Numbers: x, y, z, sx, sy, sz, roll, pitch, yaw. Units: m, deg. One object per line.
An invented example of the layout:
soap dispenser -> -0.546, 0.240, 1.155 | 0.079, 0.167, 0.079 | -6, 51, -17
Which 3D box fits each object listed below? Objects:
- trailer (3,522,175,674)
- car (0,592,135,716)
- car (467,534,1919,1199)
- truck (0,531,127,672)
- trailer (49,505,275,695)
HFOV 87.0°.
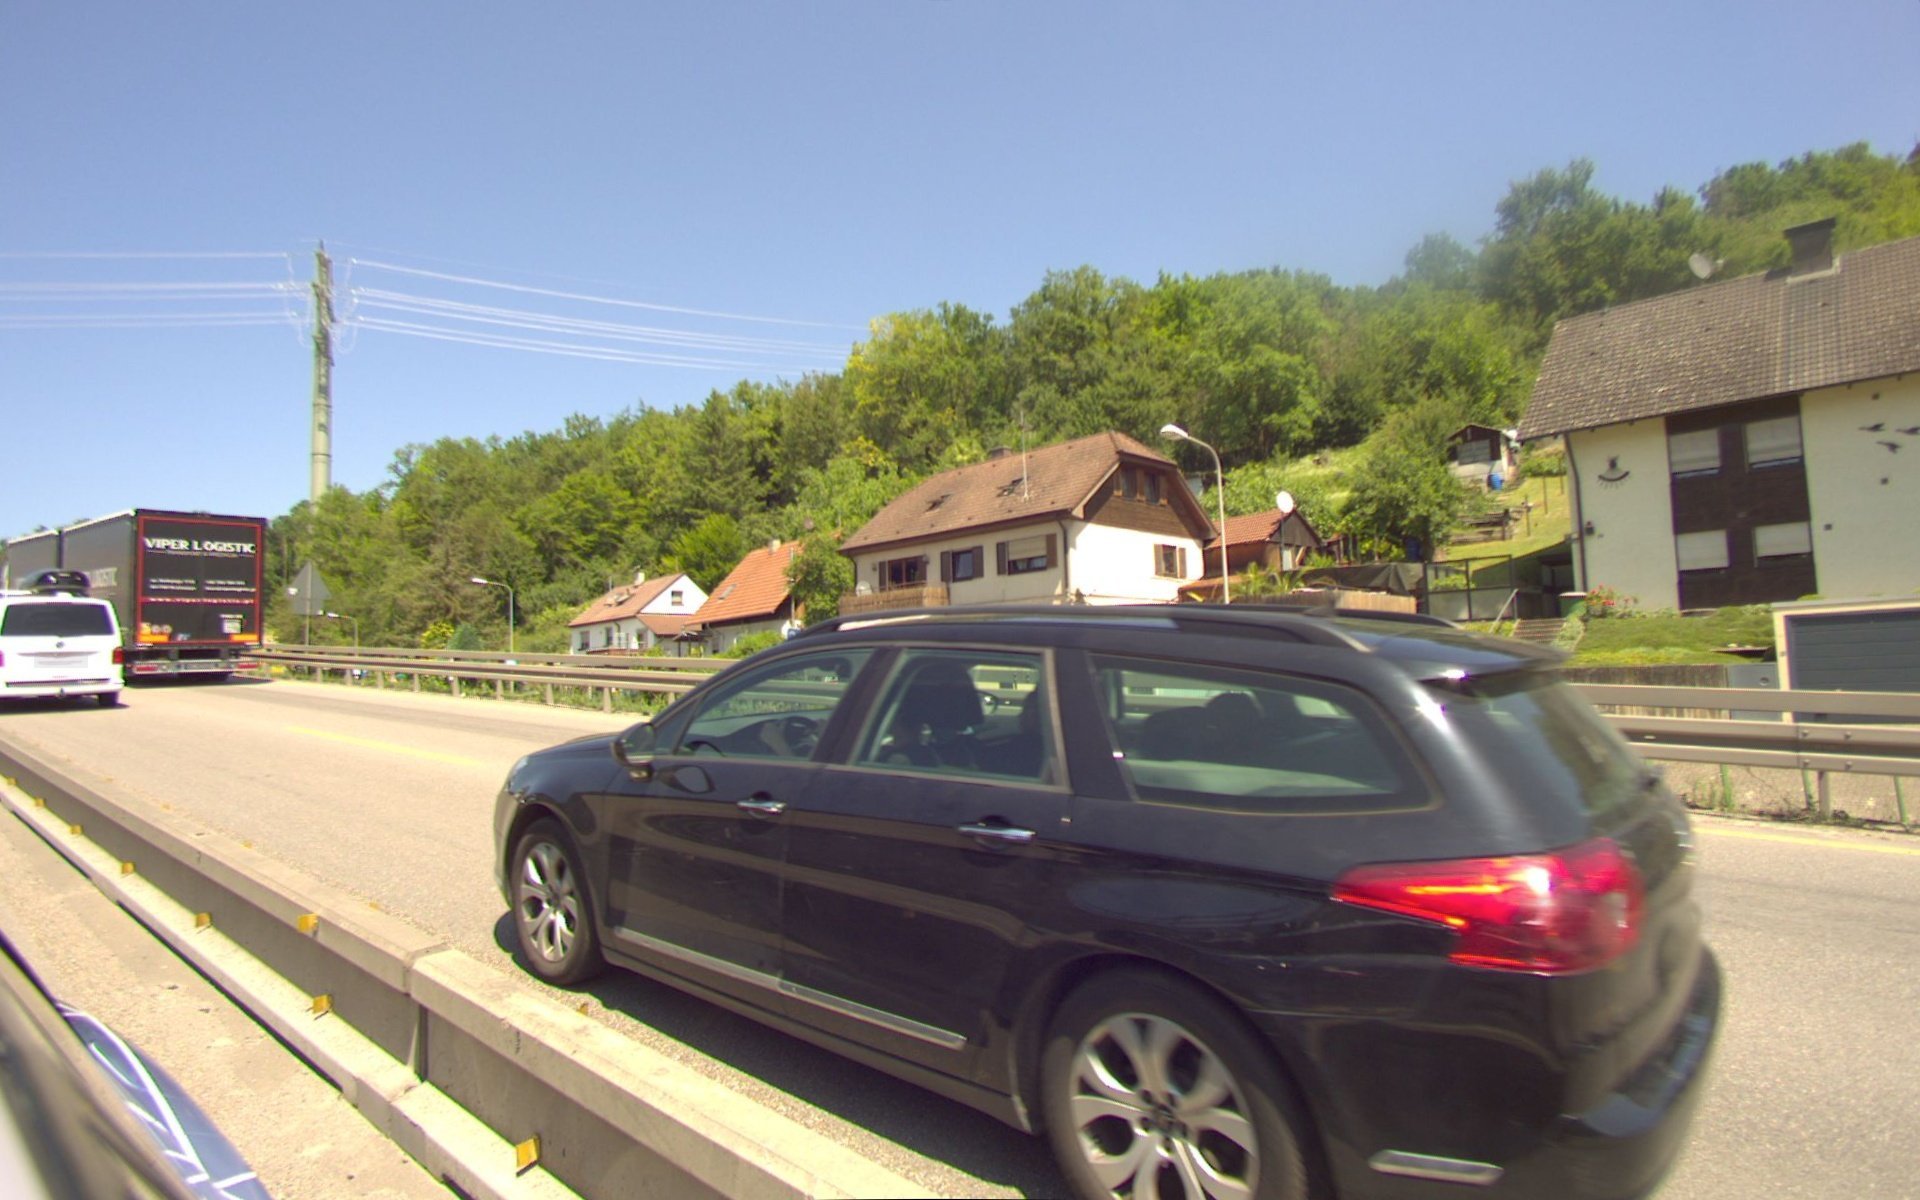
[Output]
trailer -> -26.820, 0.054, 31.005 | 8.000, 4.101, 2.730 | -2, -1, 40
car -> -16.797, 0.864, 18.352 | 4.895, 1.975, 2.002 | 0, 0, 40
car -> 0.368, 0.666, 3.423 | 4.646, 1.515, 1.973 | 0, 0, 40
truck -> -30.004, 0.092, 33.644 | 4.953, 4.316, 2.724 | -2, -1, 40
trailer -> -20.450, 0.124, 25.696 | 8.625, 4.101, 2.730 | -2, -1, 39
